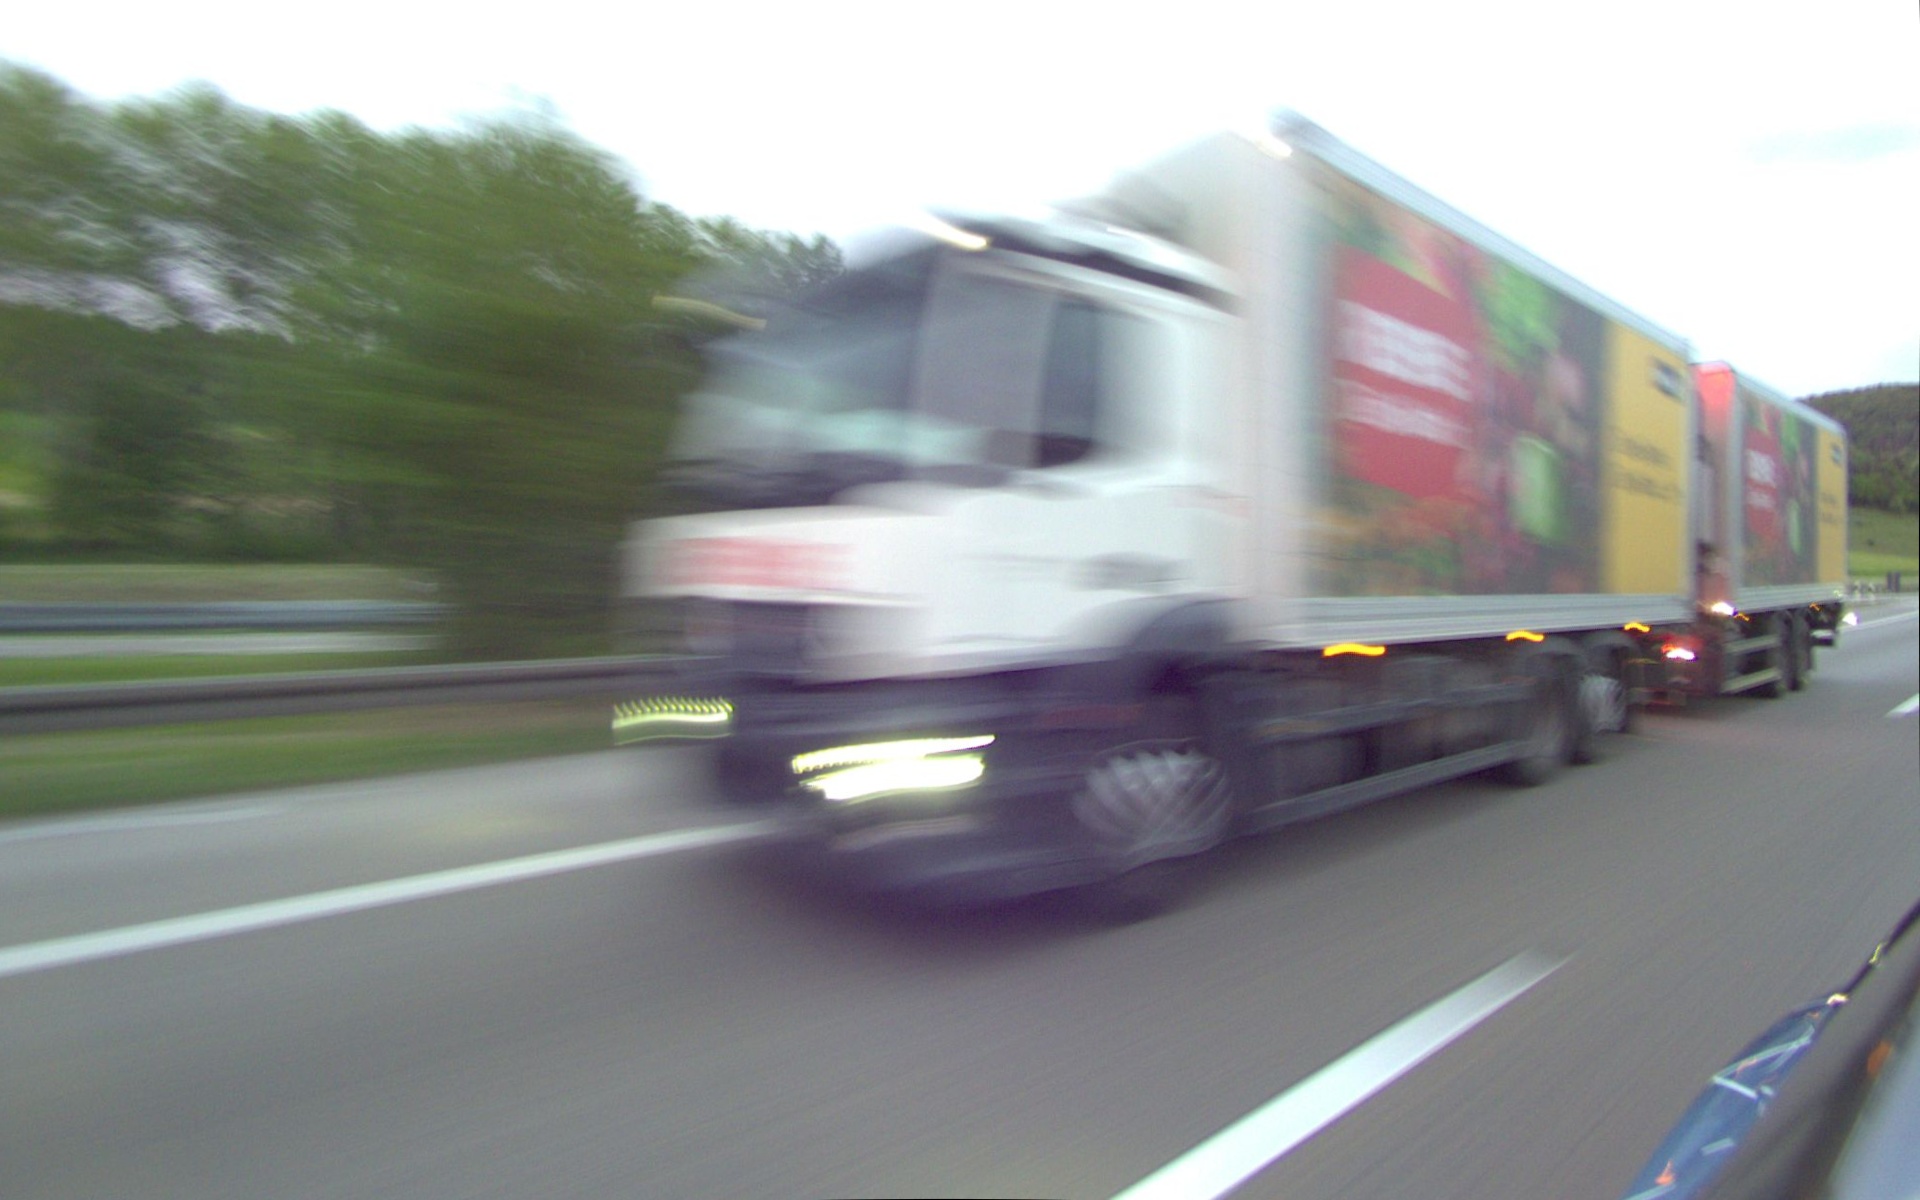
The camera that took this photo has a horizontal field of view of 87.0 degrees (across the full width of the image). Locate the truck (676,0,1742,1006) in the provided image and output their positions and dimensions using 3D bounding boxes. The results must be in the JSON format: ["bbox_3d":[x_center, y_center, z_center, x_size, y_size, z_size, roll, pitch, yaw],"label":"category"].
[{"bbox_3d":[3.173,-0.713,7.856,10.207,3.874,2.621,-2,3,-41],"label":"truck"}]

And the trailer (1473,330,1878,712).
[{"bbox_3d":[10.376,-0.972,14.154,8.725,3.874,2.621,-2,3,-41],"label":"trailer"}]
